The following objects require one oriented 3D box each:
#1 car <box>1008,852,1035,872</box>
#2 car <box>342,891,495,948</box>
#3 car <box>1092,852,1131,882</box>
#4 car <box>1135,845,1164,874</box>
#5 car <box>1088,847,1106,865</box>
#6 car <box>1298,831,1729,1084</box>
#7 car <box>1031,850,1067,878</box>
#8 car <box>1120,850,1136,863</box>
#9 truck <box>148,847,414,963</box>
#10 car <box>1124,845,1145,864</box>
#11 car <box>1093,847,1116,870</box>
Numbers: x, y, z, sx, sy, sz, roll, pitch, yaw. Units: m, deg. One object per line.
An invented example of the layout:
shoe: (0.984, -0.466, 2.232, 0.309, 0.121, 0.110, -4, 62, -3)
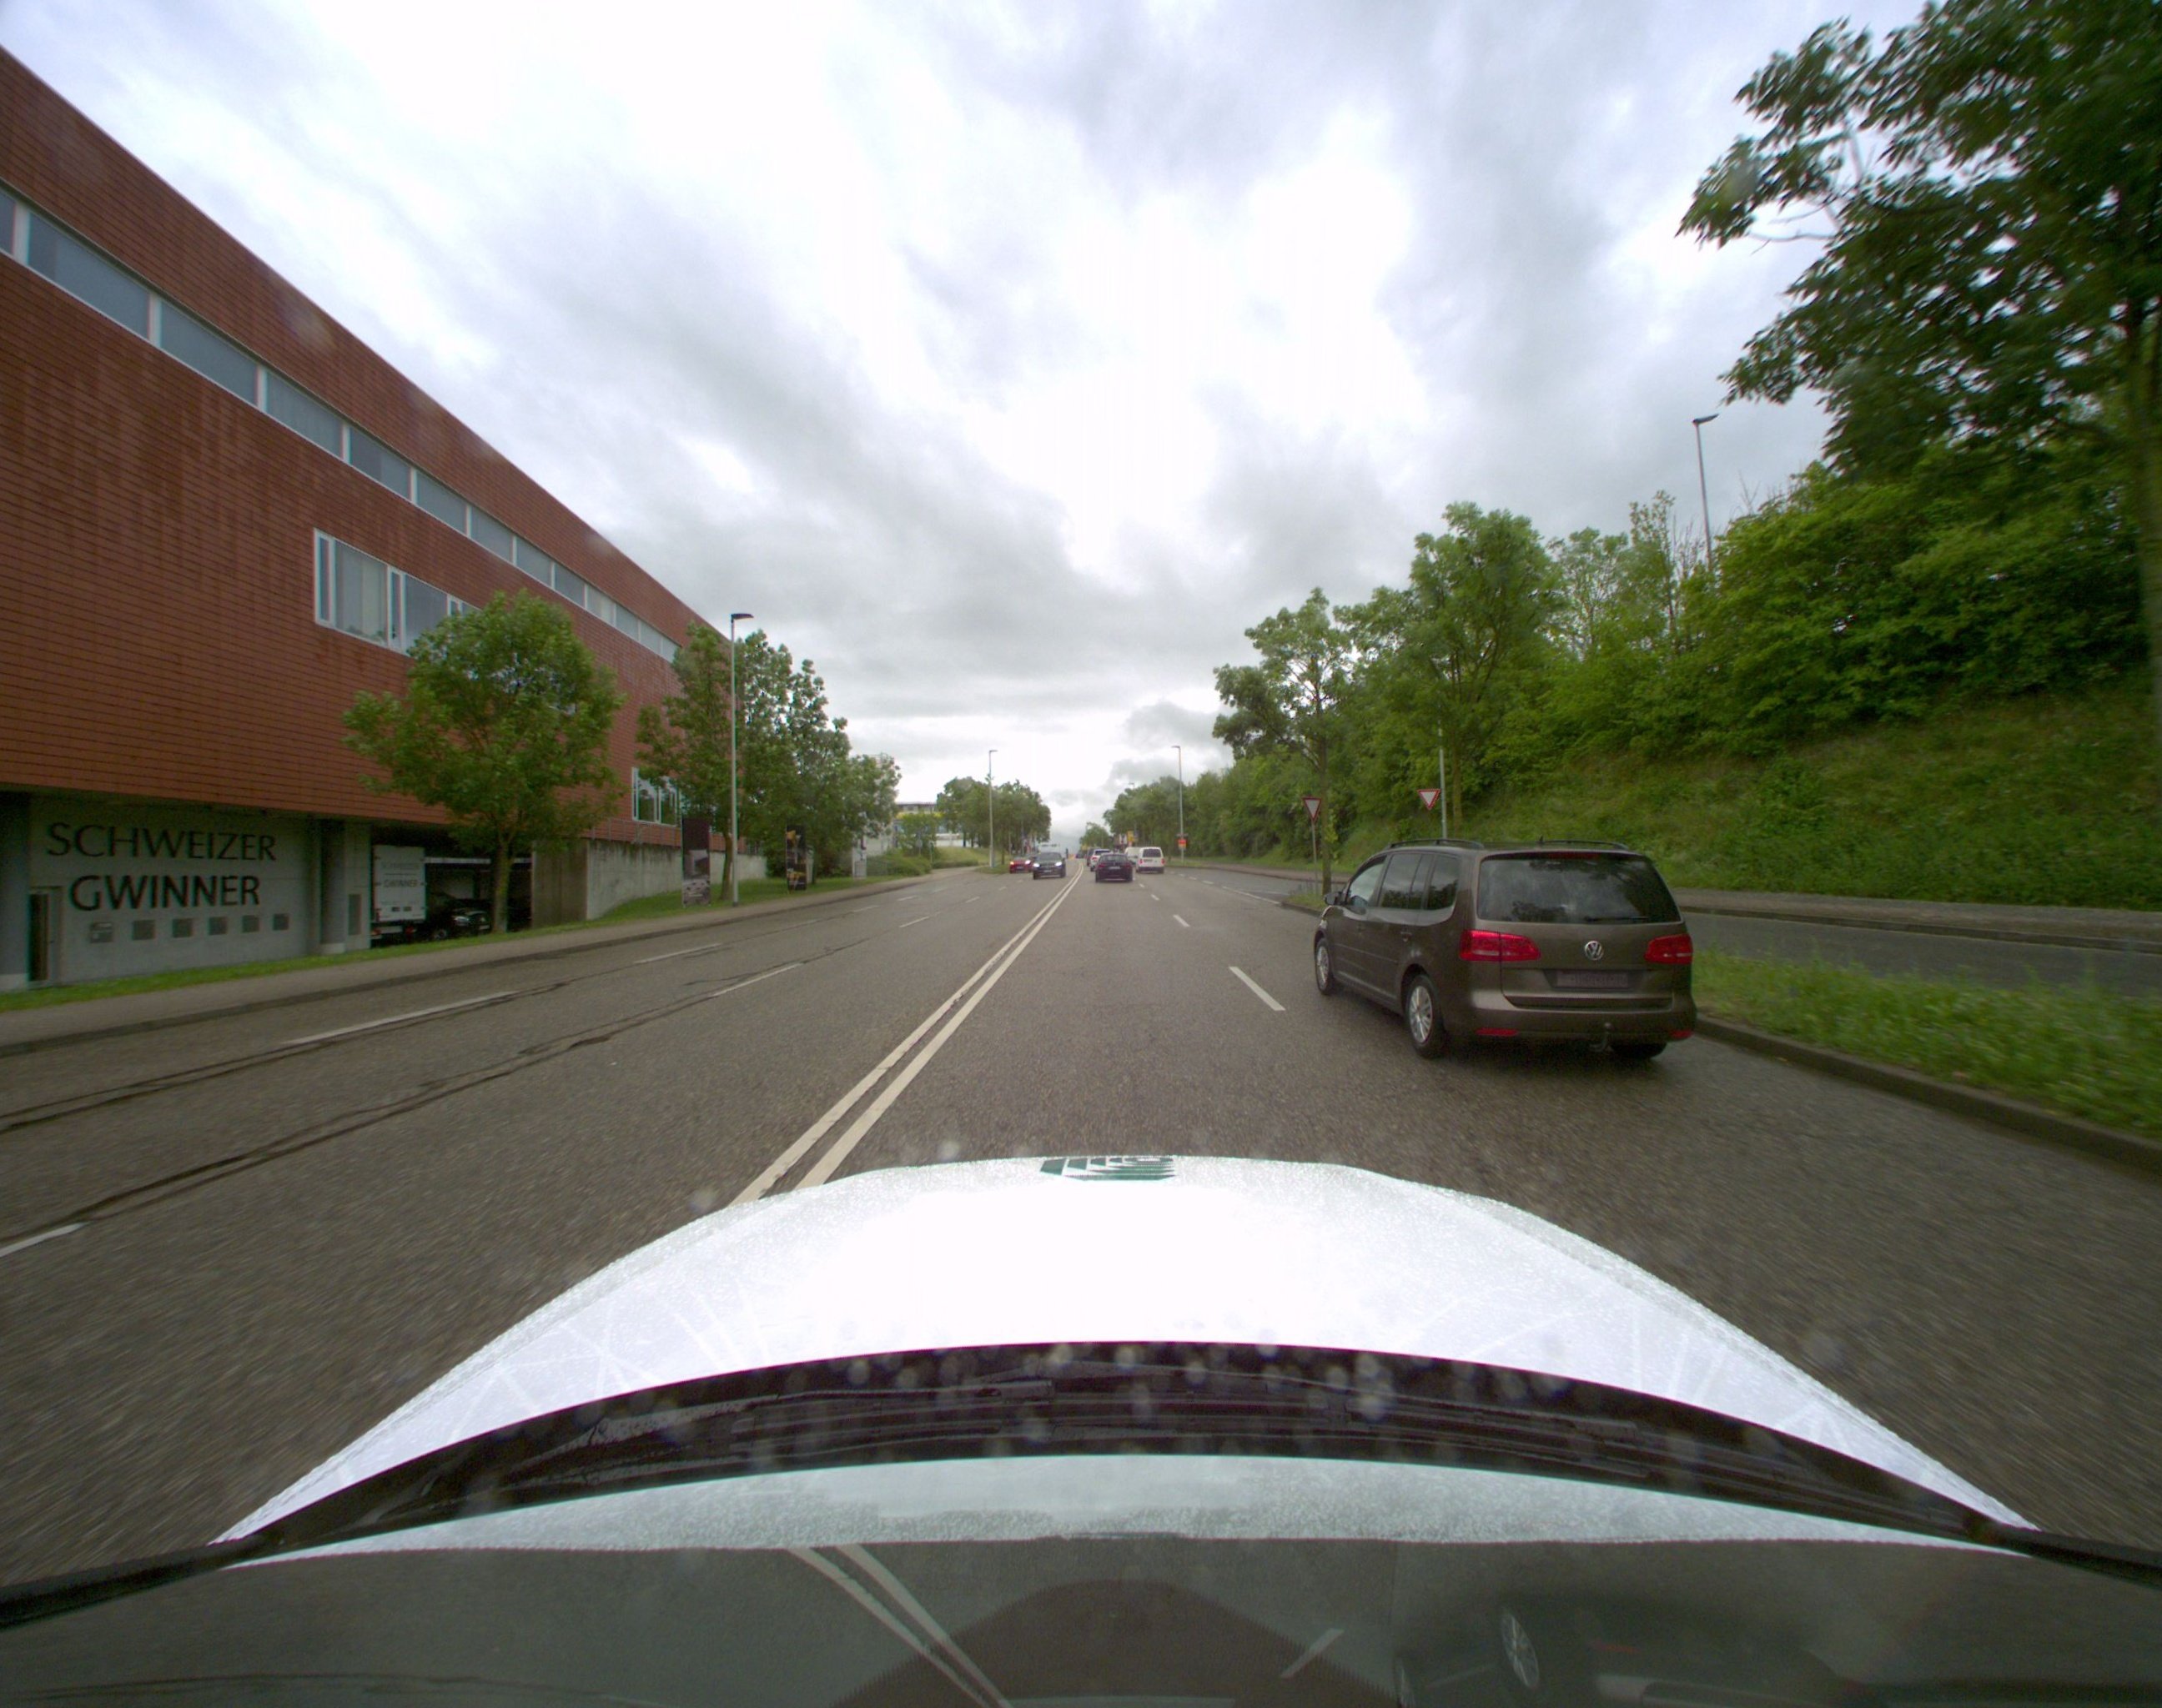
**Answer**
car: (-4.944, 0.675, 67.999, 1.669, 1.506, 4.220, -3, 0, 4)
car: (-23.960, 2.333, 29.568, 4.029, 1.750, 1.680, -2, 0, -2)
car: (1.509, 0.611, 41.271, 1.848, 1.419, 3.957, 0, 0, 1)
car: (4.665, 0.351, 55.968, 1.736, 1.869, 3.946, 0, 0, 0)
car: (1.562, 0.191, 82.759, 1.752, 1.708, 3.946, -2, 0, 0)
car: (3.315, 0.662, 7.274, 1.708, 1.596, 4.131, -1, 0, 1)
car: (-1.927, 0.590, 50.462, 1.852, 1.577, 4.322, -3, 0, 1)
car: (5.409, 0.301, 93.293, 1.595, 1.372, 3.679, -2, 0, 0)
truck: (-25.597, 1.578, 26.258, 6.124, 3.308, 2.020, -2, -1, -5)
car: (5.111, 0.037, 78.149, 1.808, 1.708, 3.946, -2, 0, 0)
car: (1.781, 0.322, 62.339, 1.722, 1.711, 3.384, 0, 0, 2)
